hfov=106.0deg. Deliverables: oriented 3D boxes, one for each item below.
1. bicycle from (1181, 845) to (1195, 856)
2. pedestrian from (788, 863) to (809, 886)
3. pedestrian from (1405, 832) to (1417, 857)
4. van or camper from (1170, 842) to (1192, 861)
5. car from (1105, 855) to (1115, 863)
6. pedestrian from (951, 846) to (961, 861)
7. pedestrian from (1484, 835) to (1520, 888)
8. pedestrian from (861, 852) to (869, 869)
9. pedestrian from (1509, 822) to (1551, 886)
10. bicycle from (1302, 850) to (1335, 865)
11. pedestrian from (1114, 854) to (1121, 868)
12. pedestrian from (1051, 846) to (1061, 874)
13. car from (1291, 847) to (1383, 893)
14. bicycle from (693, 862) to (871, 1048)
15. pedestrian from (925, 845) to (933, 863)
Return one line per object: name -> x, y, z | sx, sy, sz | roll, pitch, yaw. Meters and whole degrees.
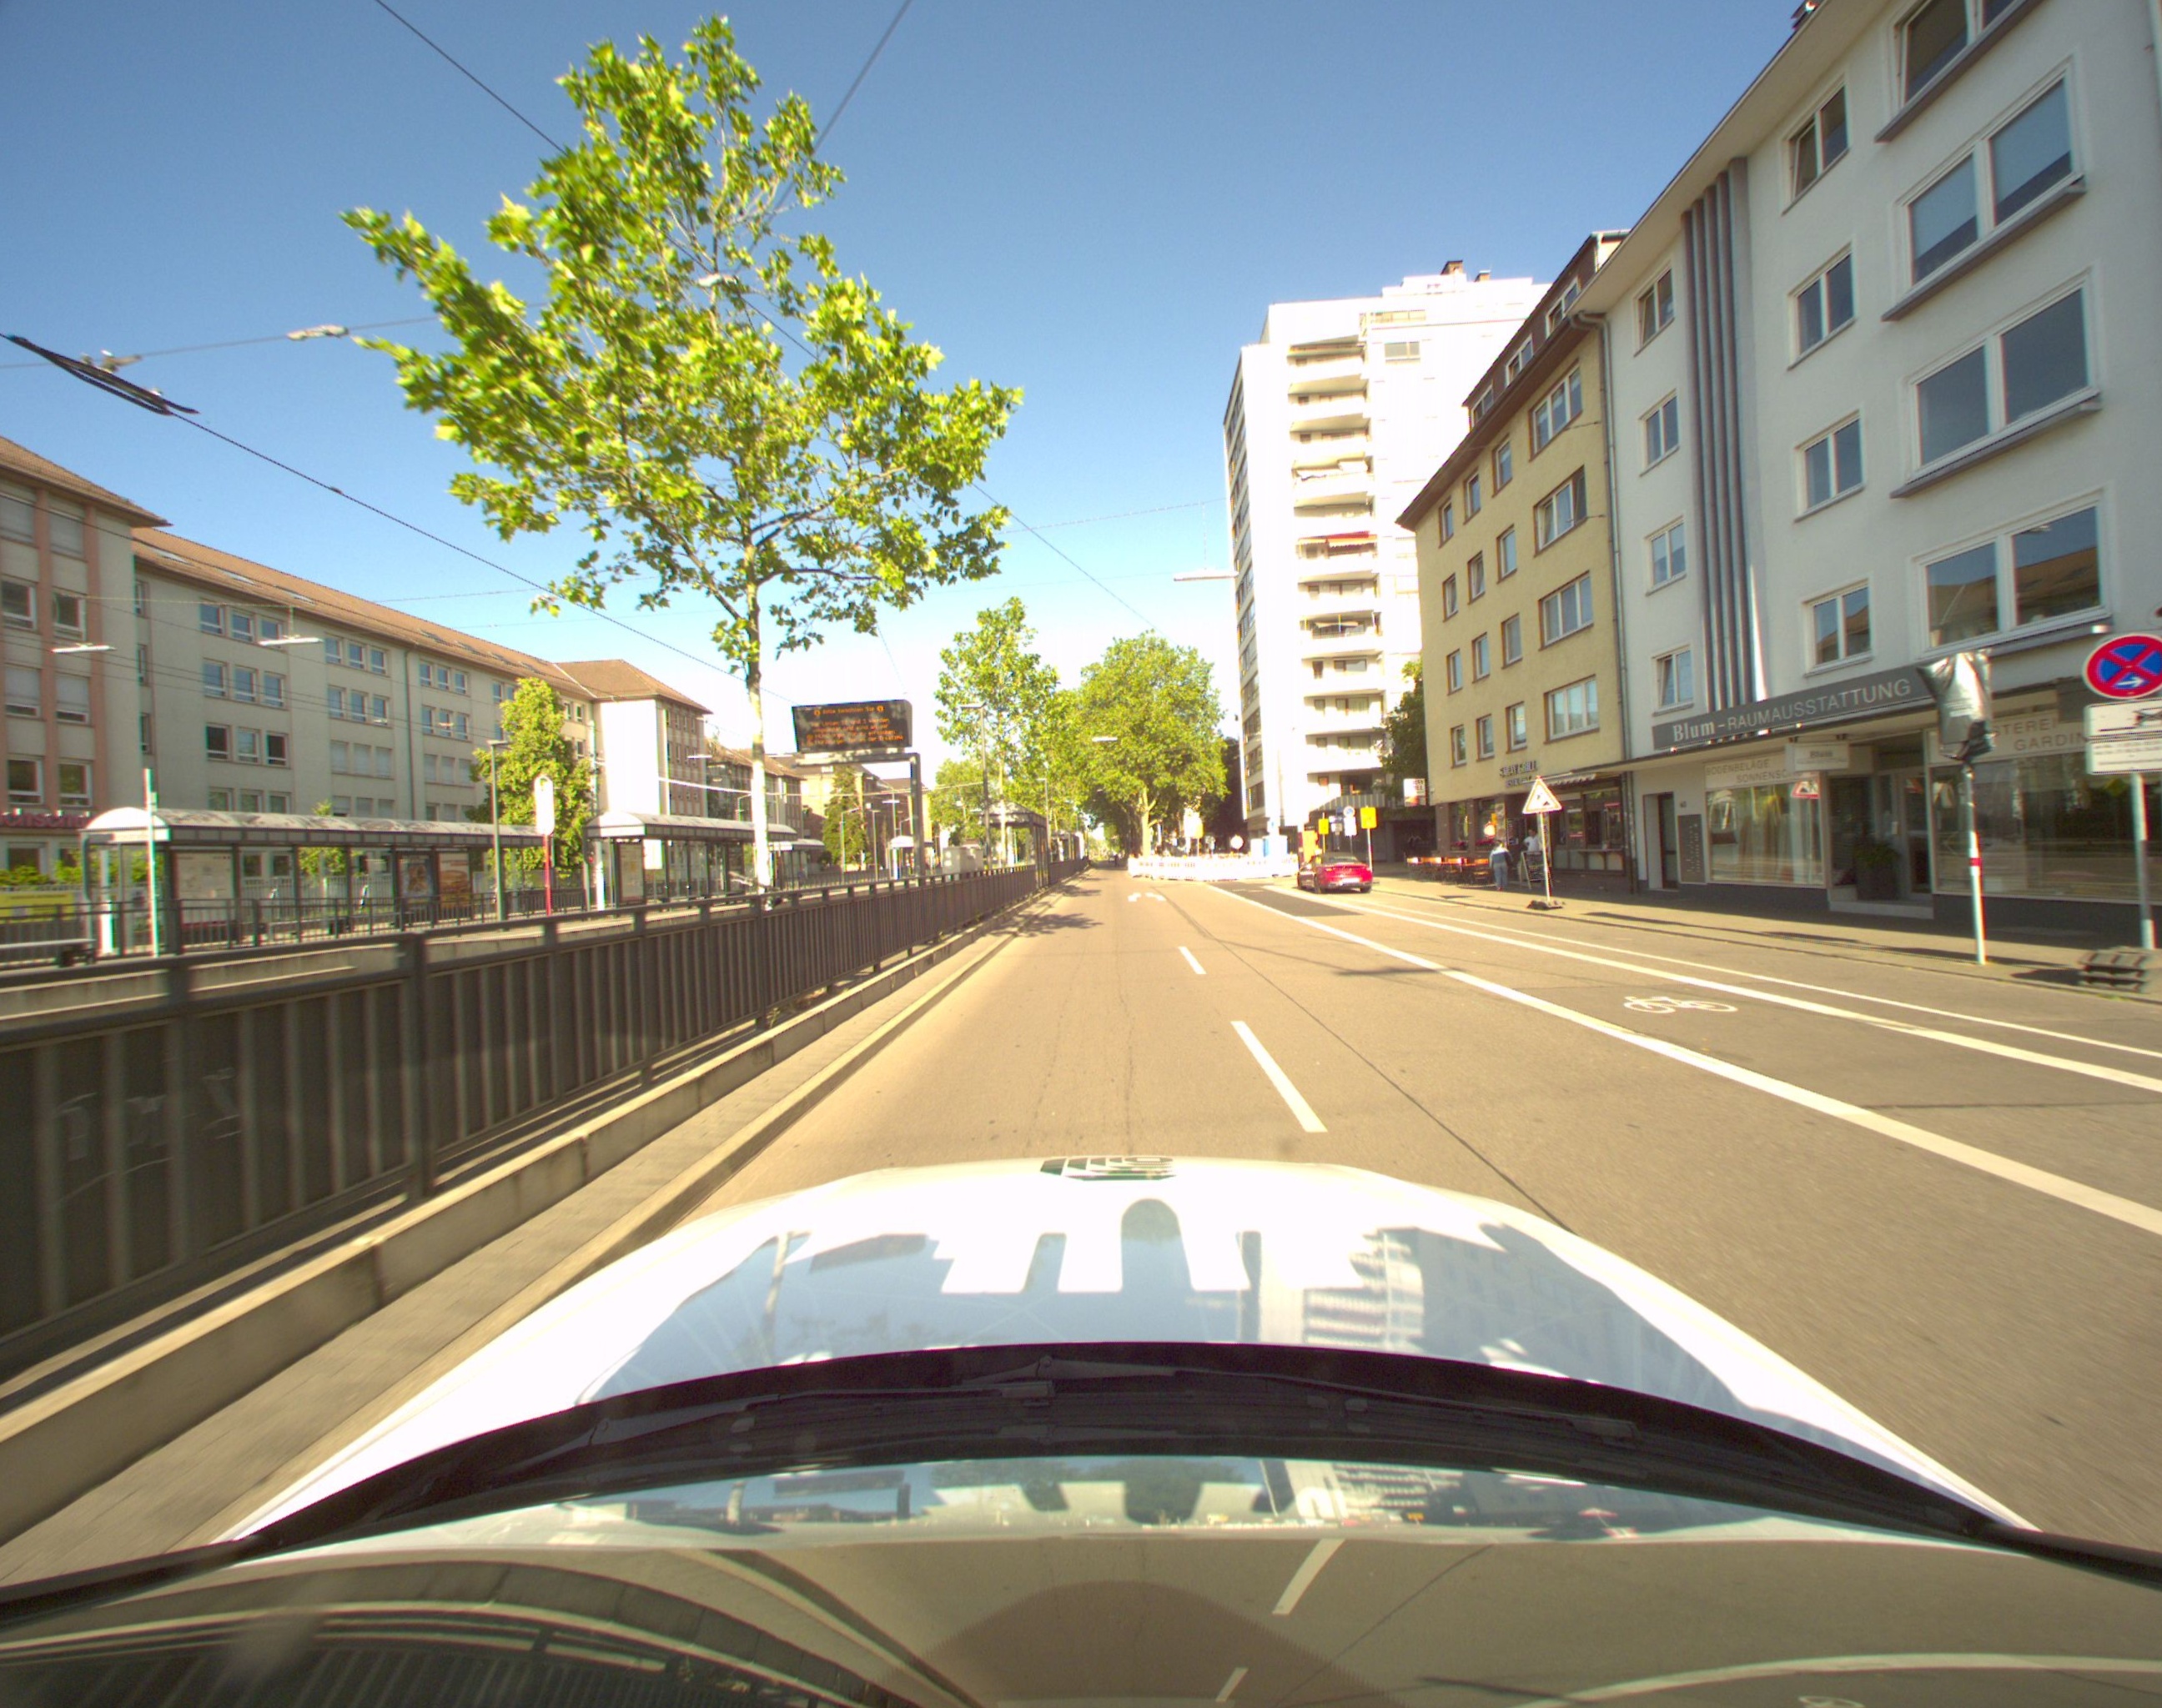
bicycle -> 13.691, -0.429, 104.301 | 1.600, 1.263, 0.962 | -3, 0, -3
pedestrian -> -18.248, 1.314, 52.597 | 0.971, 1.376, 0.879 | -2, 0, 1
pedestrian -> 24.180, -0.682, 59.639 | 0.652, 1.854, 0.679 | 0, 0, 4
van or camper -> 13.255, -0.324, 108.104 | 2.282, 2.286, 5.825 | -2, 0, 2
car -> 5.922, 0.984, 166.248 | 2.014, 1.662, 4.002 | -3, 0, 2
pedestrian -> -14.667, -0.058, 95.320 | 0.948, 1.736, 0.731 | -3, 0, 4
pedestrian -> 12.393, 0.214, 23.971 | 0.668, 1.506, 0.652 | -3, 0, 2
pedestrian -> -24.468, 0.711, 92.234 | 0.690, 1.837, 0.573 | -3, 0, 1
pedestrian -> 13.601, 0.005, 24.688 | 0.725, 1.854, 0.902 | -3, 0, 5
bicycle -> 15.714, 0.226, 53.919 | 2.010, 0.943, 1.023 | -2, 0, 21
pedestrian -> 4.592, 0.868, 102.540 | 0.709, 1.680, 0.772 | -3, 0, 1
pedestrian -> -1.826, 0.461, 59.300 | 0.665, 2.013, 0.716 | -2, 0, 1
car -> 9.065, 0.522, 29.312 | 1.864, 1.443, 5.163 | -3, 0, 3
bicycle -> -2.579, 0.787, 7.343 | 0.637, 1.379, 2.171 | -3, 0, 3
pedestrian -> -17.009, 0.030, 91.268 | 0.660, 2.013, 0.861 | -3, 0, 1
